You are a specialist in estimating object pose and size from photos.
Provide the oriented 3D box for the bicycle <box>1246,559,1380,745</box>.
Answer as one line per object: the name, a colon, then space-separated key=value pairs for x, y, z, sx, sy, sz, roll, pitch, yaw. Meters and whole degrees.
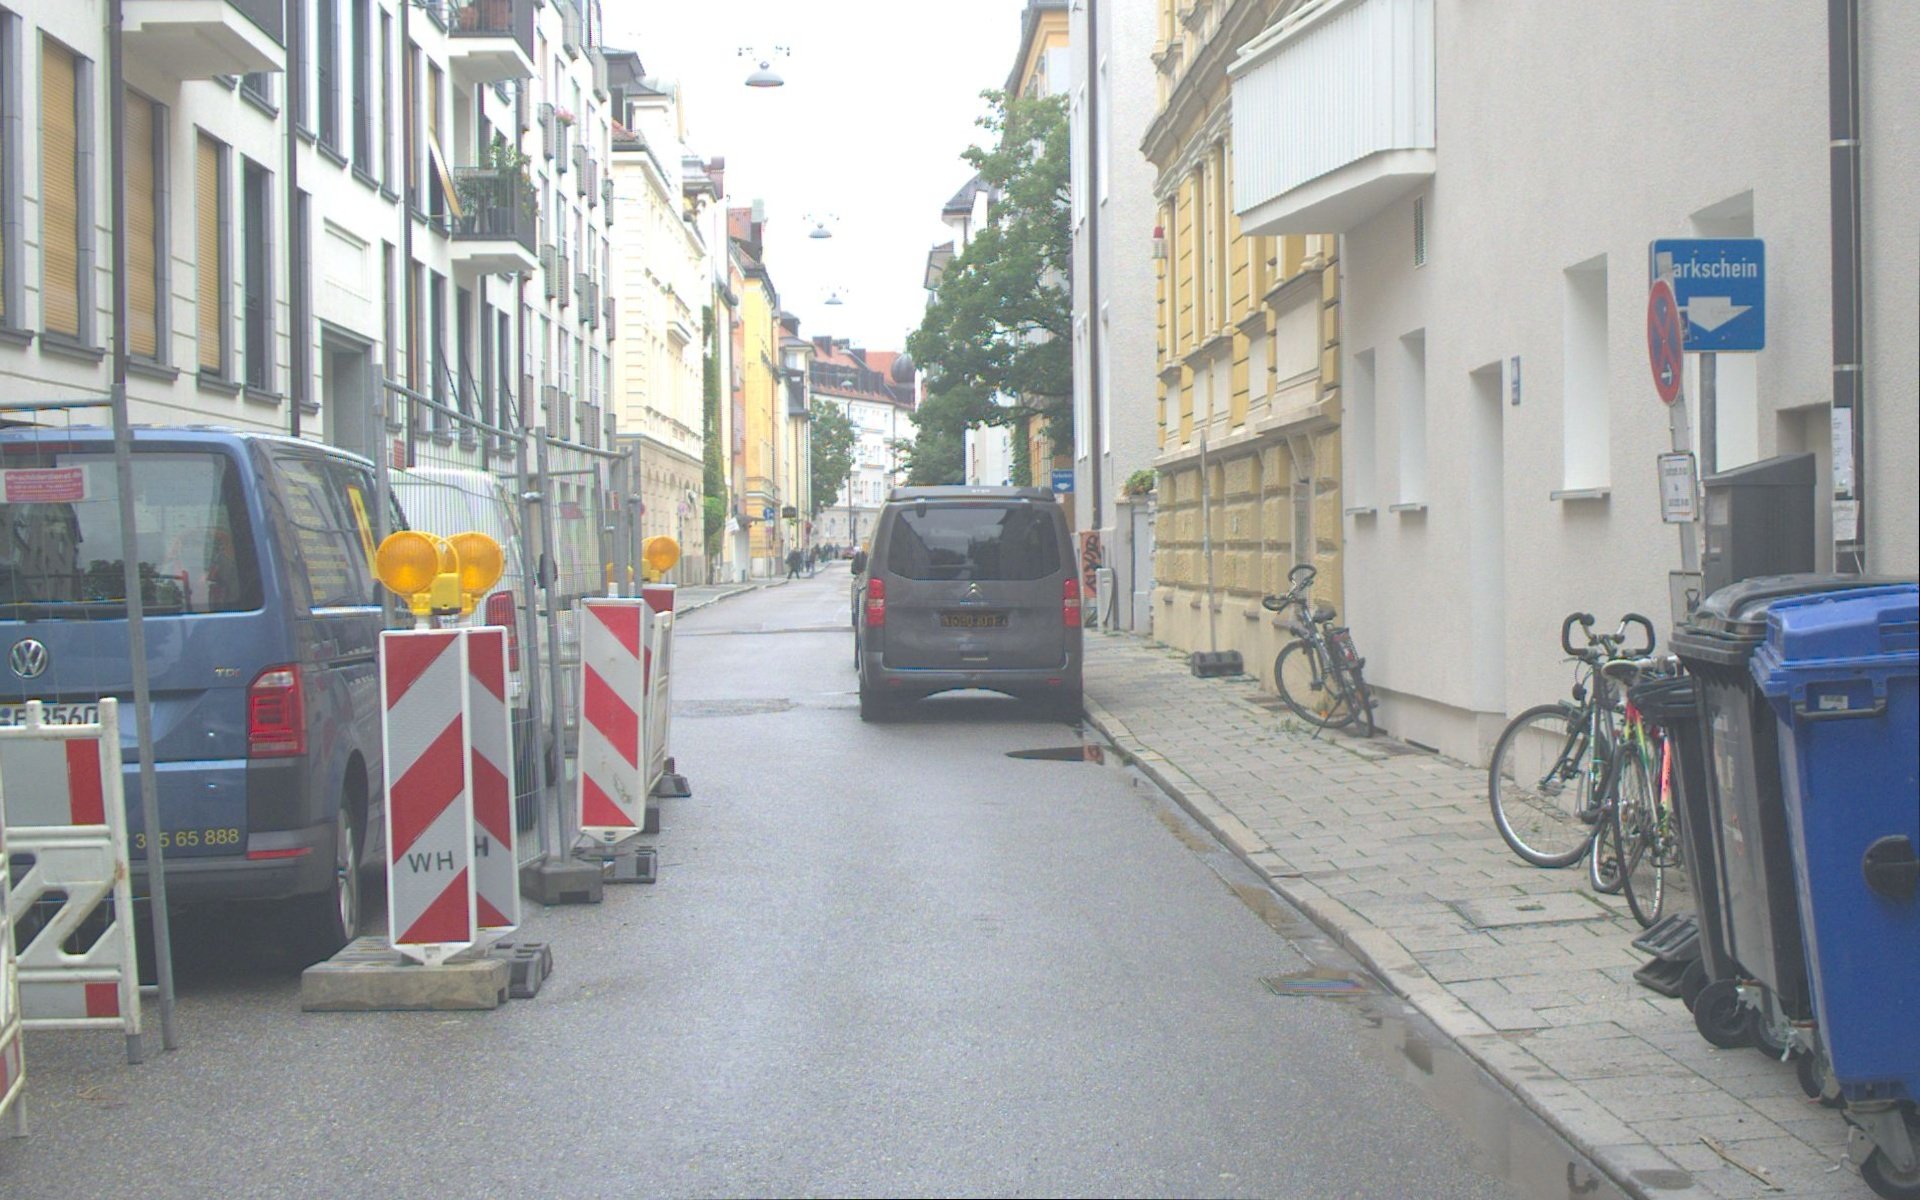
bicycle: x=2.386 y=0.331 z=23.418 sx=0.638 sy=1.149 sz=1.915 roll=-3 pitch=2 yaw=-1

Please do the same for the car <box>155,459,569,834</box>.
car: x=-3.319 y=0.203 z=19.992 sx=1.904 sy=1.891 sz=5.090 roll=0 pitch=1 yaw=-5

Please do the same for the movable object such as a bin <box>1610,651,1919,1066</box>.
movable object such as a bin: x=2.589 y=0.731 z=10.098 sx=1.211 sy=1.091 sz=0.789 roll=-4 pitch=1 yaw=7

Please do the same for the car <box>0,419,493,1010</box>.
car: x=-3.099 y=0.347 z=13.945 sx=1.727 sy=1.891 sz=5.509 roll=-2 pitch=1 yaw=-1

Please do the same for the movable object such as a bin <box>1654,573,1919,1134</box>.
movable object such as a bin: x=2.513 y=0.619 z=9.144 sx=1.126 sy=1.341 sz=1.171 roll=-4 pitch=1 yaw=7

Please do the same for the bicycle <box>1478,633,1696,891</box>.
bicycle: x=2.611 y=0.654 z=14.424 sx=0.404 sy=0.988 sz=1.329 roll=-4 pitch=1 yaw=-10

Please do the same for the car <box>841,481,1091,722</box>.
car: x=-0.033 y=-0.032 z=30.218 sx=1.993 sy=1.925 sz=4.660 roll=1 pitch=1 yaw=-2

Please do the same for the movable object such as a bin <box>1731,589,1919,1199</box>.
movable object such as a bin: x=2.383 y=0.657 z=7.904 sx=1.087 sy=1.341 sz=1.317 roll=-3 pitch=1 yaw=11

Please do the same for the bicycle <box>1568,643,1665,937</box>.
bicycle: x=2.507 y=0.694 z=13.082 sx=0.281 sy=0.988 sz=1.433 roll=-4 pitch=1 yaw=12

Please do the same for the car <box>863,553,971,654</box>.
car: x=-0.715 y=0.037 z=57.987 sx=1.751 sy=1.630 sz=3.445 roll=1 pitch=1 yaw=-1
